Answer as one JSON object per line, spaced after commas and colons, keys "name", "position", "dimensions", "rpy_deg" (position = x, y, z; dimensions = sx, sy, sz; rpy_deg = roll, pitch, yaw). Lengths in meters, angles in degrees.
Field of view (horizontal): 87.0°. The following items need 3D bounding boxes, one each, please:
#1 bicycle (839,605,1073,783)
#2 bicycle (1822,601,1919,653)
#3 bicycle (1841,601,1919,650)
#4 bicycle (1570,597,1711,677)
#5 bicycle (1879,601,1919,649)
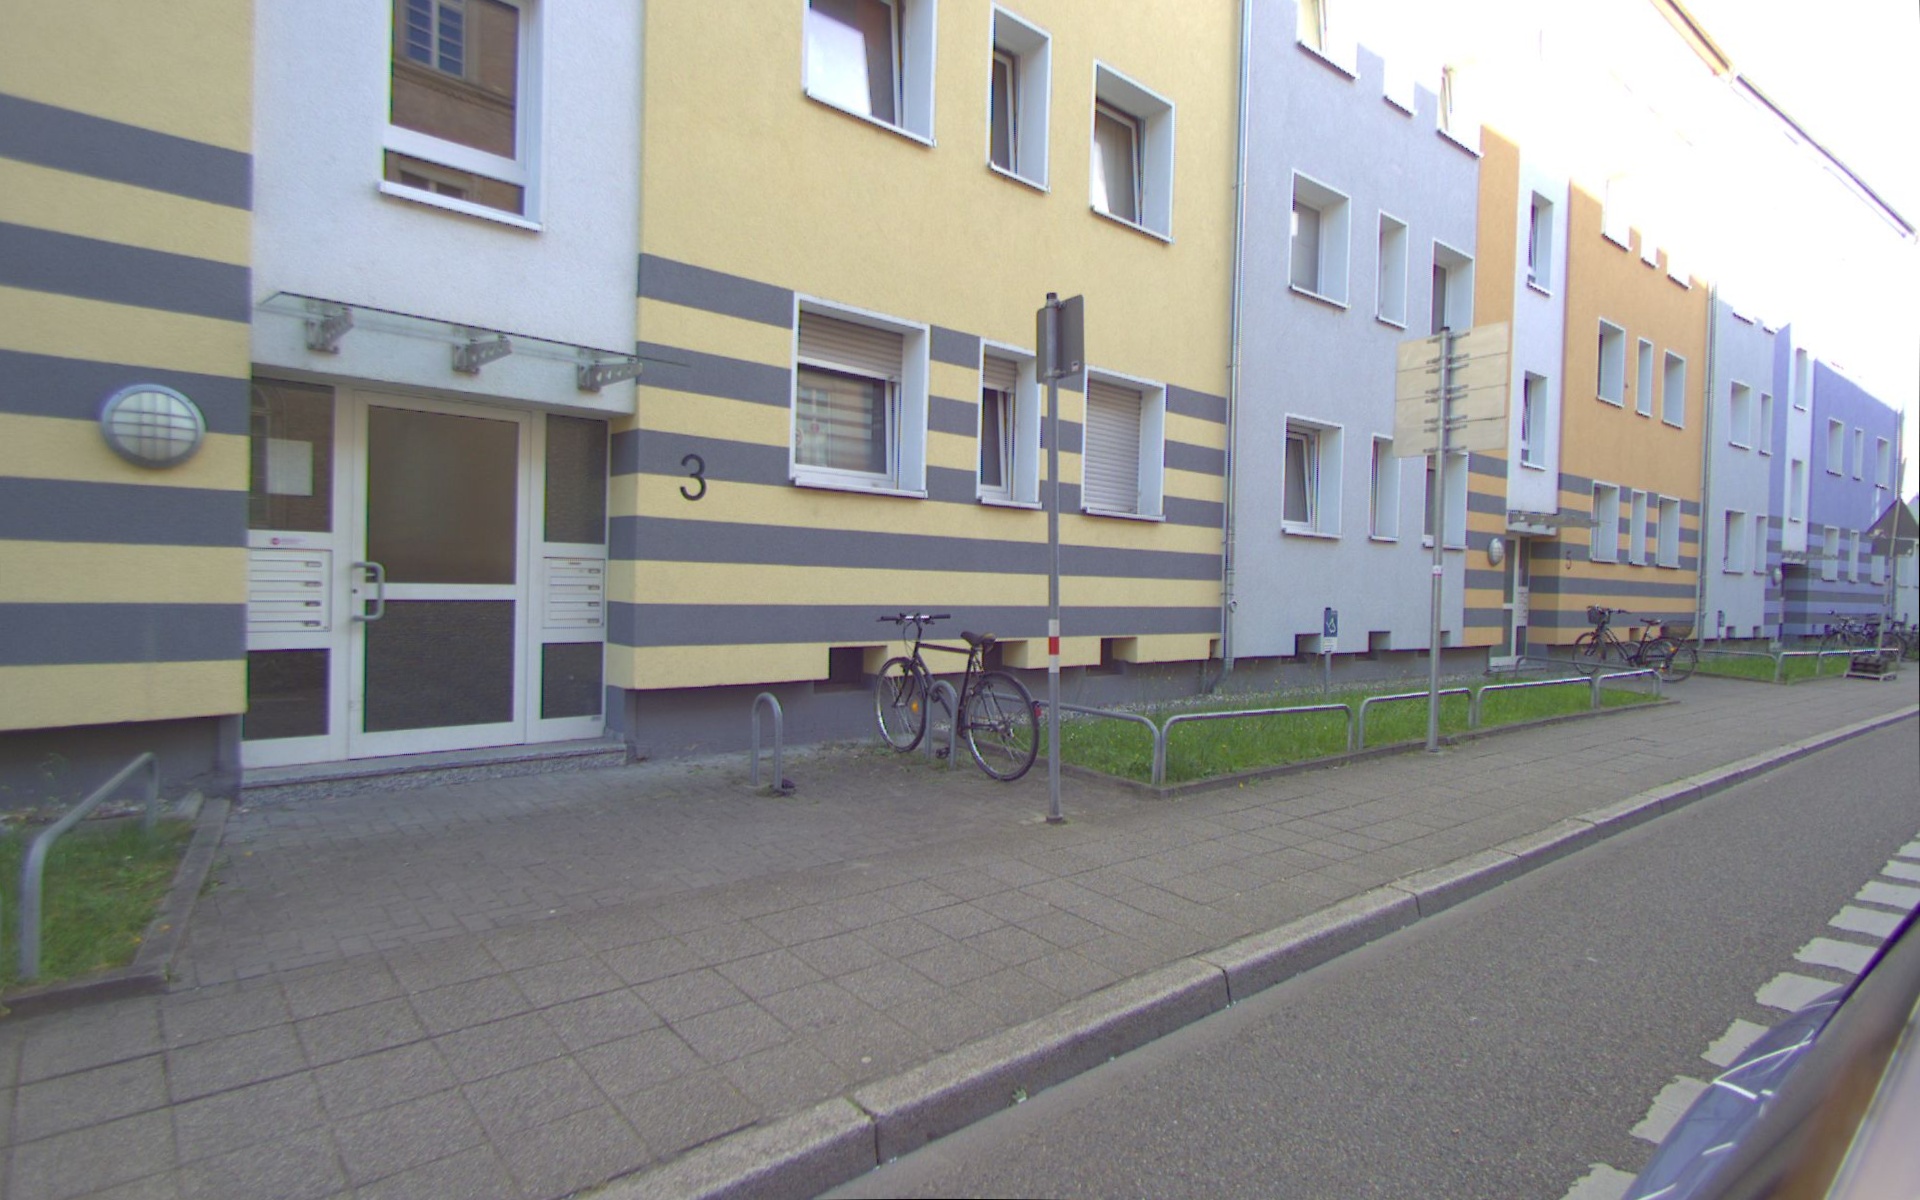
{"name": "bicycle", "position": [-0.077, 0.582, 7.010], "dimensions": [1.775, 1.031, 0.476], "rpy_deg": [3, 1, 44]}
{"name": "bicycle", "position": [22.223, 0.648, 24.722], "dimensions": [0.475, 1.166, 1.678], "rpy_deg": [1, 1, -37]}
{"name": "bicycle", "position": [23.304, 0.631, 25.415], "dimensions": [0.475, 1.166, 1.678], "rpy_deg": [1, 1, -37]}
{"name": "bicycle", "position": [10.684, 0.554, 15.939], "dimensions": [1.775, 1.137, 0.476], "rpy_deg": [3, 1, 44]}
{"name": "bicycle", "position": [24.131, 0.642, 25.272], "dimensions": [0.475, 1.166, 1.678], "rpy_deg": [1, 1, -37]}
